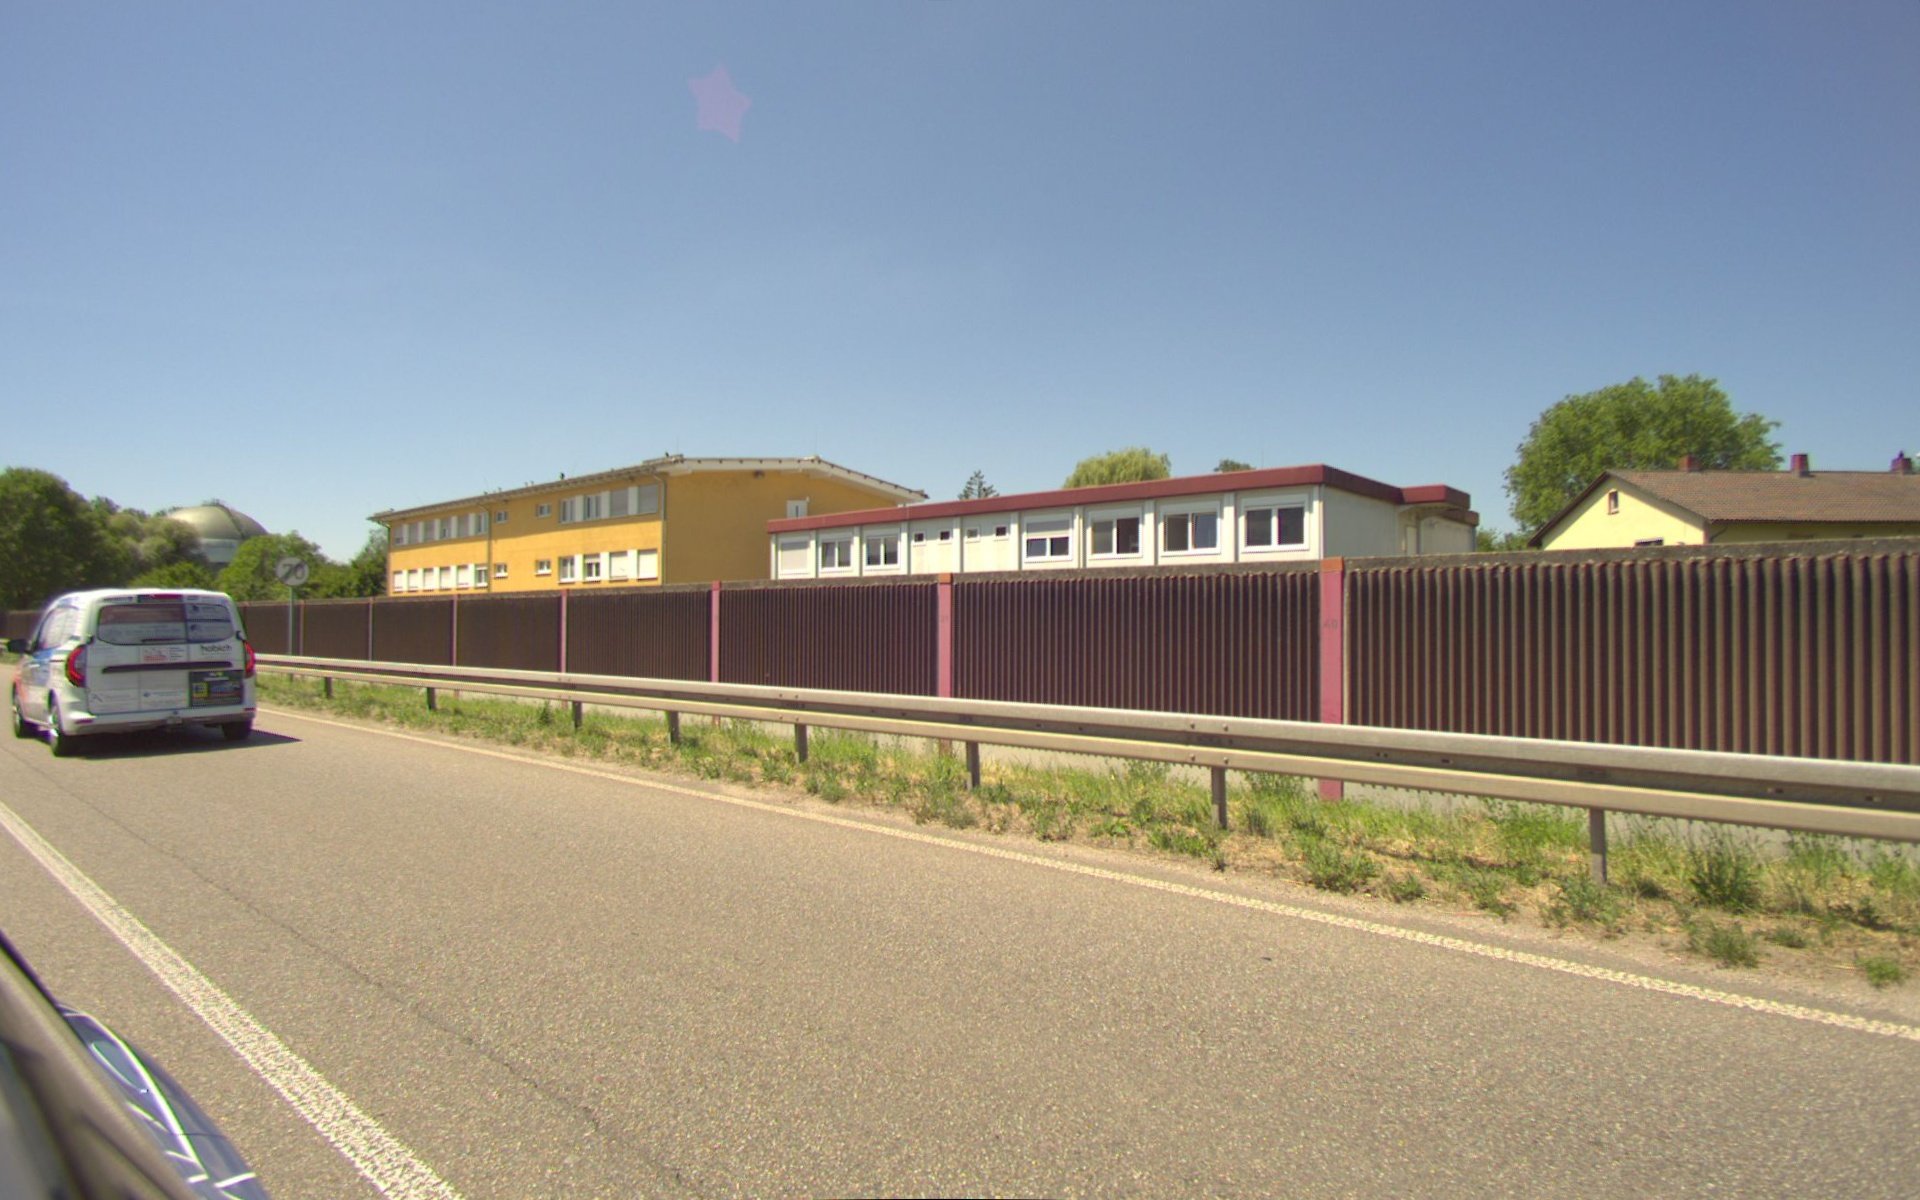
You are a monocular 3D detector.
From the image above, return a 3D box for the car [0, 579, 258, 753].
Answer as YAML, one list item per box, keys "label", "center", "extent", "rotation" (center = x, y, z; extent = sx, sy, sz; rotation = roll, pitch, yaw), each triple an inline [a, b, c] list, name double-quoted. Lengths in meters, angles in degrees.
- label: "car"
  center: [-10.424, 0.695, 12.513]
  extent: [4.776, 1.753, 1.867]
  rotation: [-1, -1, 43]
